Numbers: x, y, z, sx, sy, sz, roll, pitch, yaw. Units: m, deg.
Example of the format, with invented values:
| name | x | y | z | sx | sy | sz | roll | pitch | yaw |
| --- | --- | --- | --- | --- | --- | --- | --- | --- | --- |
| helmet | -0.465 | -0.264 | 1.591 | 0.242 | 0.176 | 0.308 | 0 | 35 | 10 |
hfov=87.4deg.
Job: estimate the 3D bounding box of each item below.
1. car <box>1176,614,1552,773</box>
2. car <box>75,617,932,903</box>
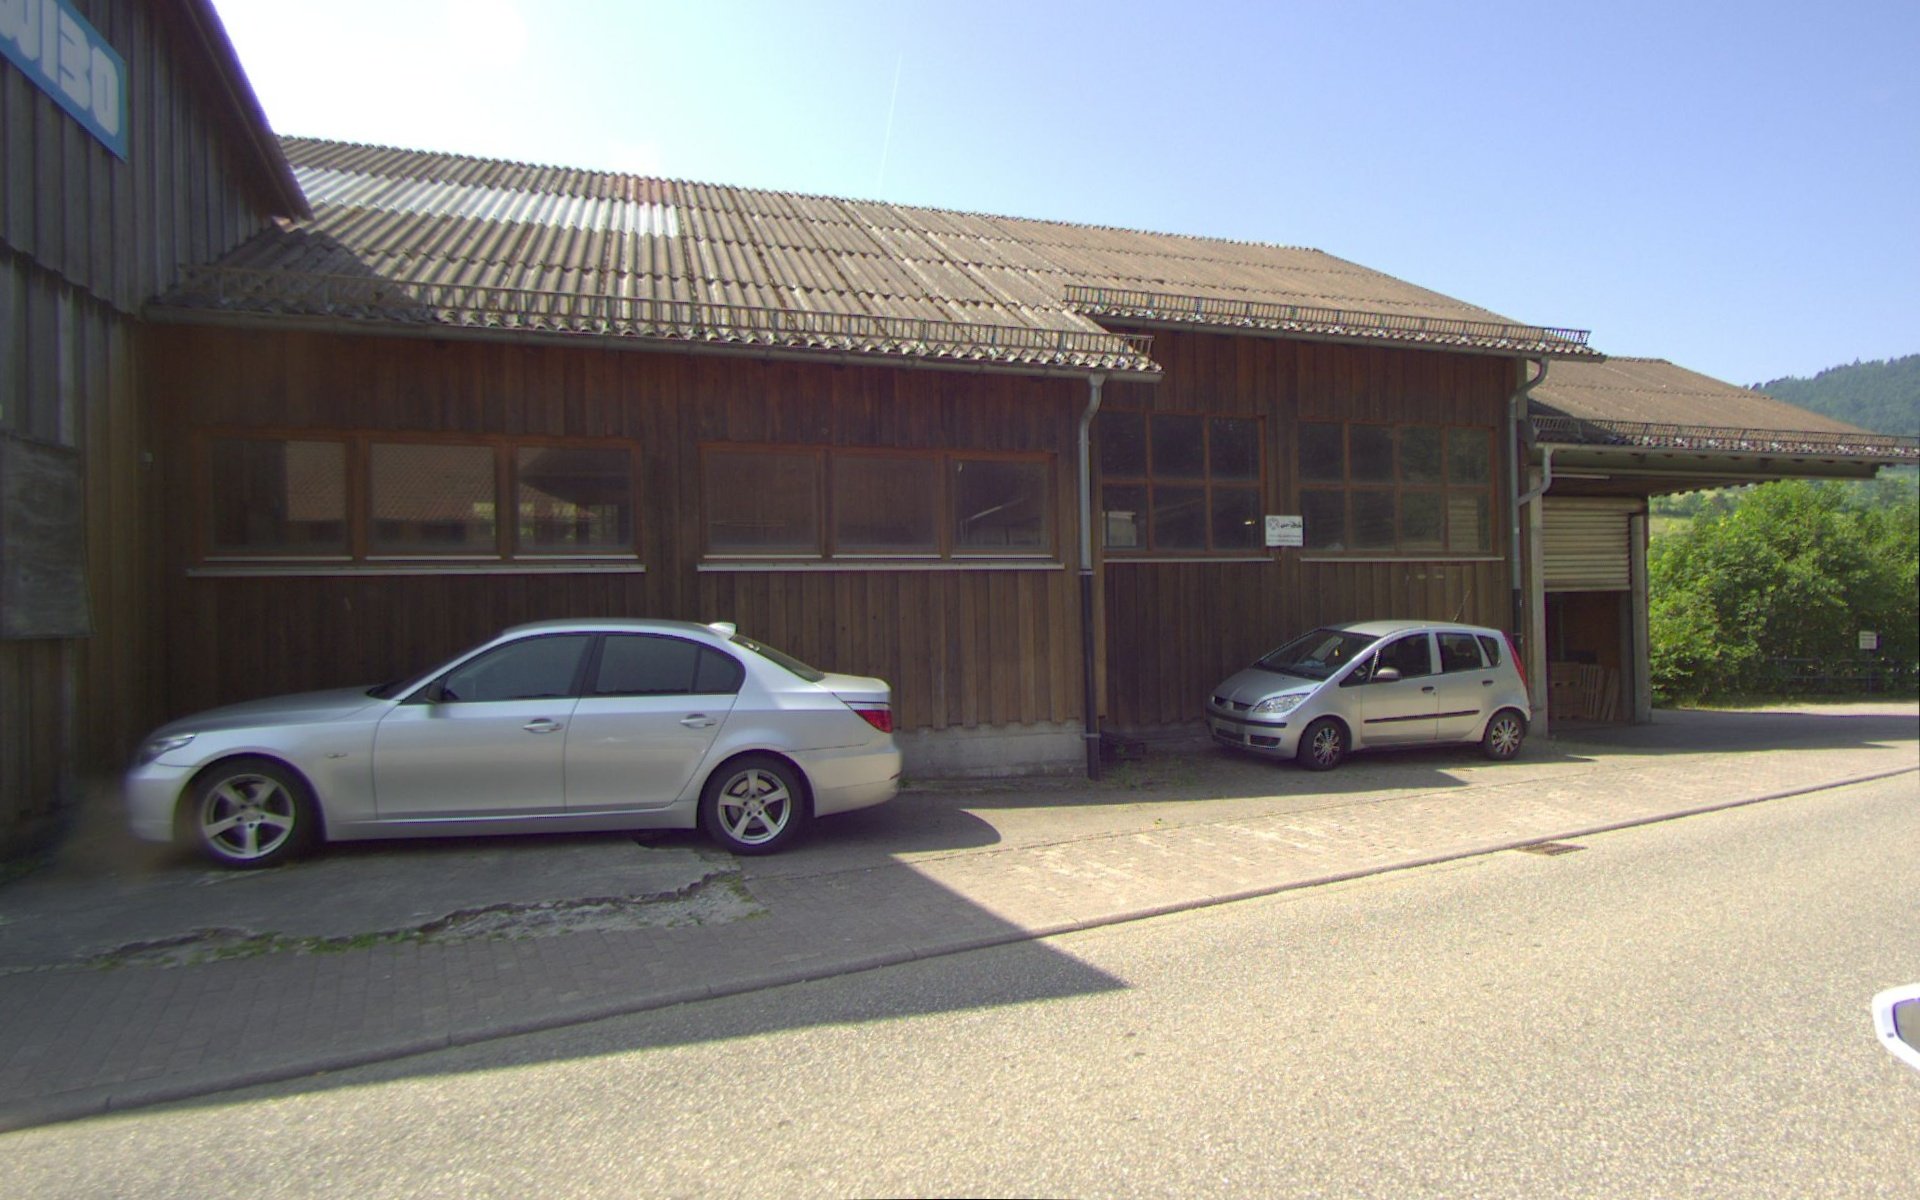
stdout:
| name | x | y | z | sx | sy | sz | roll | pitch | yaw |
| --- | --- | --- | --- | --- | --- | --- | --- | --- | --- |
| car | 4.686 | 0.998 | 11.730 | 3.958 | 1.591 | 1.580 | 1 | 1 | -17 |
| car | -2.688 | 0.889 | 6.855 | 4.724 | 1.473 | 1.729 | -1 | -1 | -15 |
